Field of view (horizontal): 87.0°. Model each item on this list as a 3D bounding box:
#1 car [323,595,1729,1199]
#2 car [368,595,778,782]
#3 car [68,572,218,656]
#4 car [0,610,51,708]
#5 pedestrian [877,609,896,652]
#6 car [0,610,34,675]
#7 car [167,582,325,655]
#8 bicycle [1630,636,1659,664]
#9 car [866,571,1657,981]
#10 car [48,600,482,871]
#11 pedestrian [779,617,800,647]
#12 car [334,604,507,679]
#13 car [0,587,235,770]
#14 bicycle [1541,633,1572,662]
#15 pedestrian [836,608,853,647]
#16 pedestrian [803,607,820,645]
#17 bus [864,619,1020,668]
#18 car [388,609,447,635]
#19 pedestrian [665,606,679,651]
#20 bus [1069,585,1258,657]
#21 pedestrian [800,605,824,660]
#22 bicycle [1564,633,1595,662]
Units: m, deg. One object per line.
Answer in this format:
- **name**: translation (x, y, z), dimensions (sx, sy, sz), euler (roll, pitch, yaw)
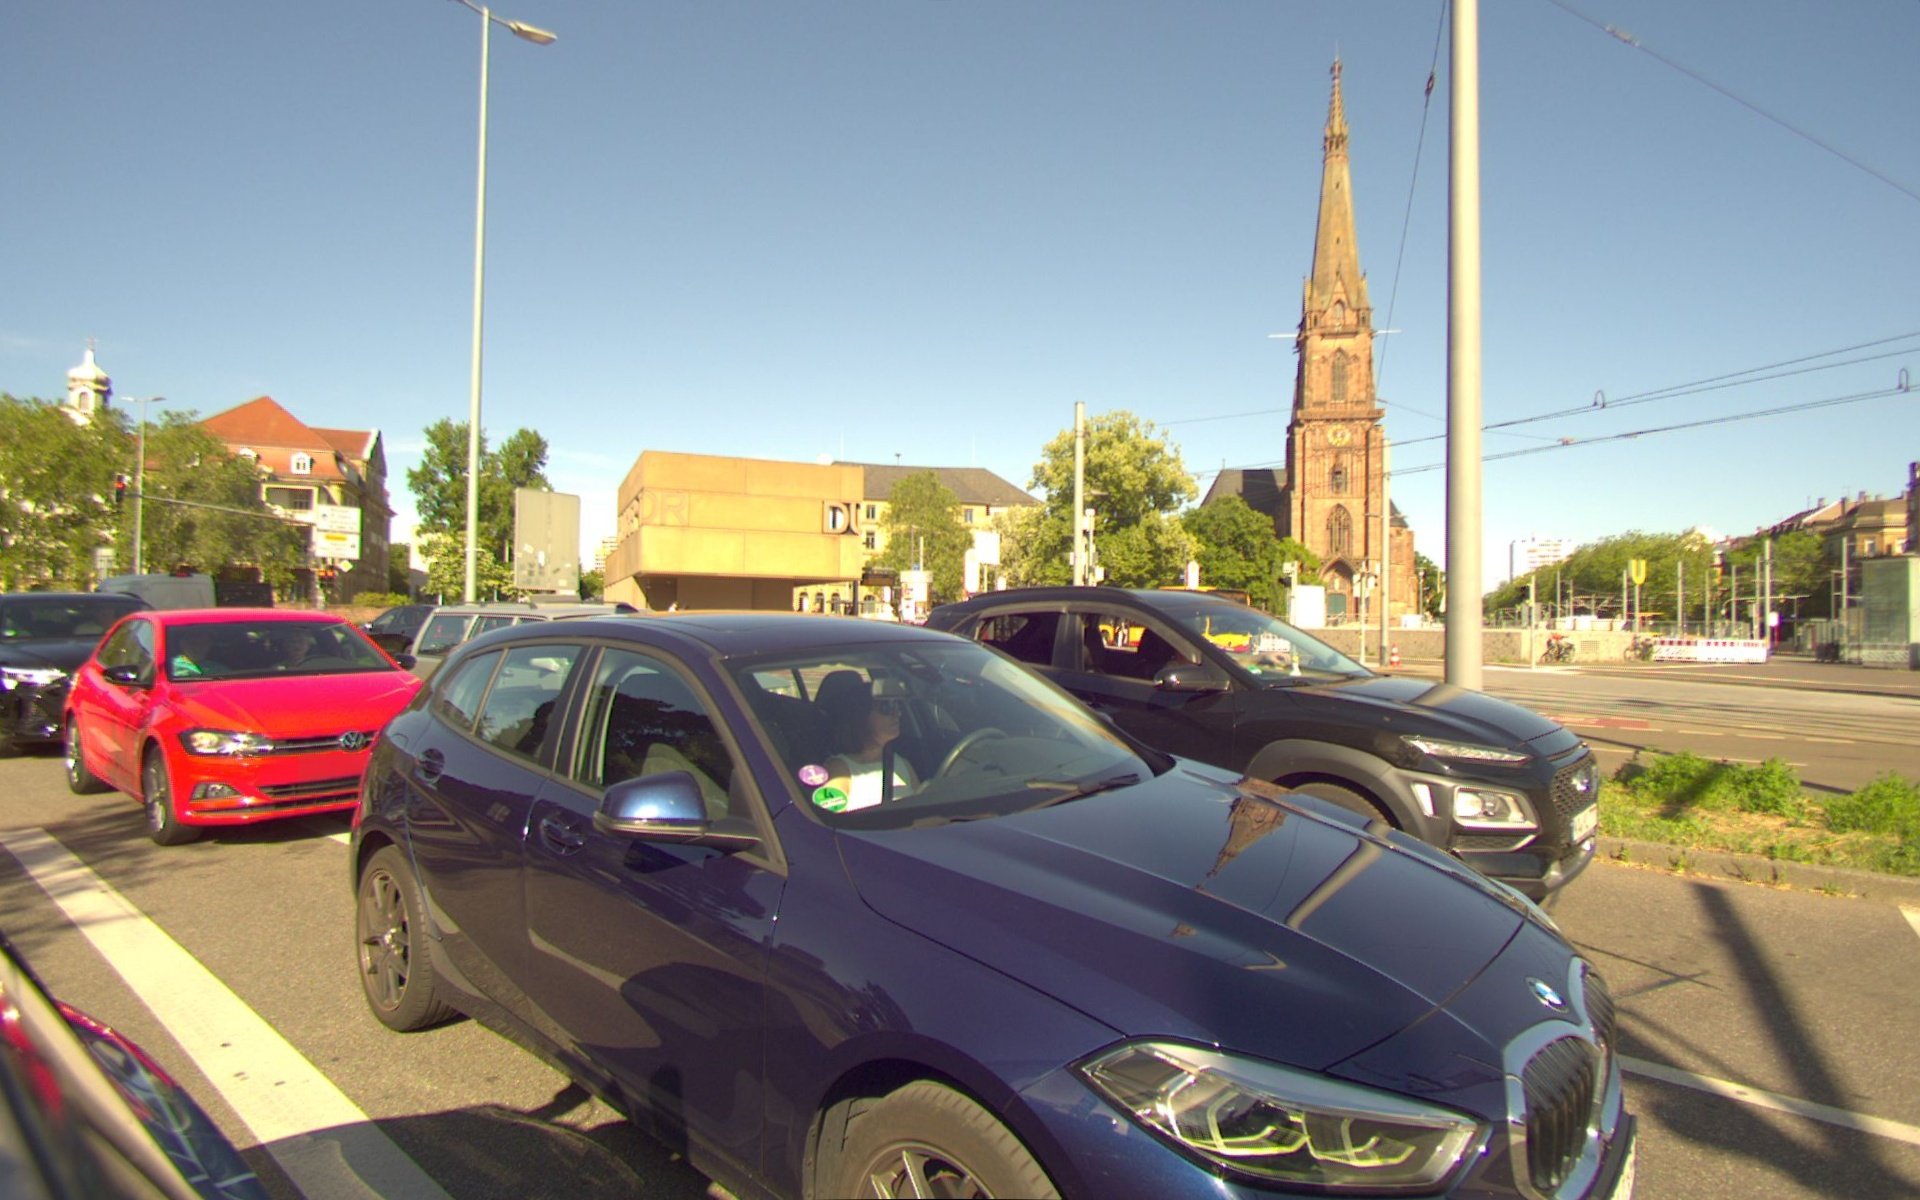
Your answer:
- **car**: translation (-0.292, 0.725, 3.027), dimensions (4.030, 1.456, 1.693), euler (0, 0, 42)
- **car**: translation (-4.096, 0.748, 10.279), dimensions (4.745, 1.484, 1.692), euler (-1, 0, 38)
- **car**: translation (-26.224, 0.451, 32.427), dimensions (5.399, 2.527, 1.979), euler (0, -2, 31)
- **car**: translation (-15.663, 0.867, 15.637), dimensions (3.703, 1.429, 1.557), euler (0, -1, 34)
- **pedestrian**: translation (-3.109, 1.294, 42.798), dimensions (0.634, 1.789, 0.470), euler (1, -1, -29)
- **car**: translation (-22.357, 0.905, 22.073), dimensions (3.547, 1.389, 1.741), euler (0, -1, 20)
- **car**: translation (-24.659, 0.626, 34.874), dimensions (6.191, 2.331, 2.095), euler (0, -1, 31)
- **bicycle**: translation (29.395, 2.145, 43.455), dimensions (1.232, 1.182, 0.471), euler (1, -2, -26)
- **car**: translation (1.436, 0.678, 5.807), dimensions (4.010, 1.529, 1.738), euler (-1, -1, 44)
- **car**: translation (-5.228, 0.755, 7.426), dimensions (3.850, 1.484, 1.653), euler (0, 0, 40)
- **pedestrian**: translation (-7.563, 1.419, 44.856), dimensions (0.635, 1.320, 0.764), euler (2, -2, -40)
- **car**: translation (-13.099, 0.965, 24.539), dimensions (4.057, 1.672, 1.851), euler (0, -2, 31)
- **car**: translation (-9.784, 0.726, 11.034), dimensions (4.447, 1.627, 1.836), euler (0, -2, 38)
- **bicycle**: translation (24.318, 1.942, 41.269), dimensions (1.232, 1.182, 0.471), euler (1, -2, -26)
- **pedestrian**: translation (-5.319, 1.255, 46.669), dimensions (0.468, 1.789, 0.638), euler (-1, -2, 36)
- **pedestrian**: translation (-7.093, 1.226, 48.354), dimensions (0.468, 1.789, 0.638), euler (-1, -2, 36)
- **bus**: translation (-0.533, 1.159, 27.865), dimensions (4.174, 1.251, 1.627), euler (0, -2, 35)
- **car**: translation (-36.562, 1.504, 68.293), dimensions (1.514, 1.692, 3.357), euler (0, -2, 21)
- **pedestrian**: translation (-11.481, 1.126, 40.314), dimensions (0.460, 1.789, 0.648), euler (1, -1, -21)
- **bus**: translation (9.573, 1.056, 49.884), dimensions (2.715, 3.088, 12.201), euler (1, -2, -23)
- **pedestrian**: translation (-4.826, 1.052, 33.075), dimensions (0.659, 1.802, 0.645), euler (0, 0, 3)
- **bicycle**: translation (25.630, 1.951, 41.873), dimensions (1.232, 1.182, 0.471), euler (1, -2, -26)
